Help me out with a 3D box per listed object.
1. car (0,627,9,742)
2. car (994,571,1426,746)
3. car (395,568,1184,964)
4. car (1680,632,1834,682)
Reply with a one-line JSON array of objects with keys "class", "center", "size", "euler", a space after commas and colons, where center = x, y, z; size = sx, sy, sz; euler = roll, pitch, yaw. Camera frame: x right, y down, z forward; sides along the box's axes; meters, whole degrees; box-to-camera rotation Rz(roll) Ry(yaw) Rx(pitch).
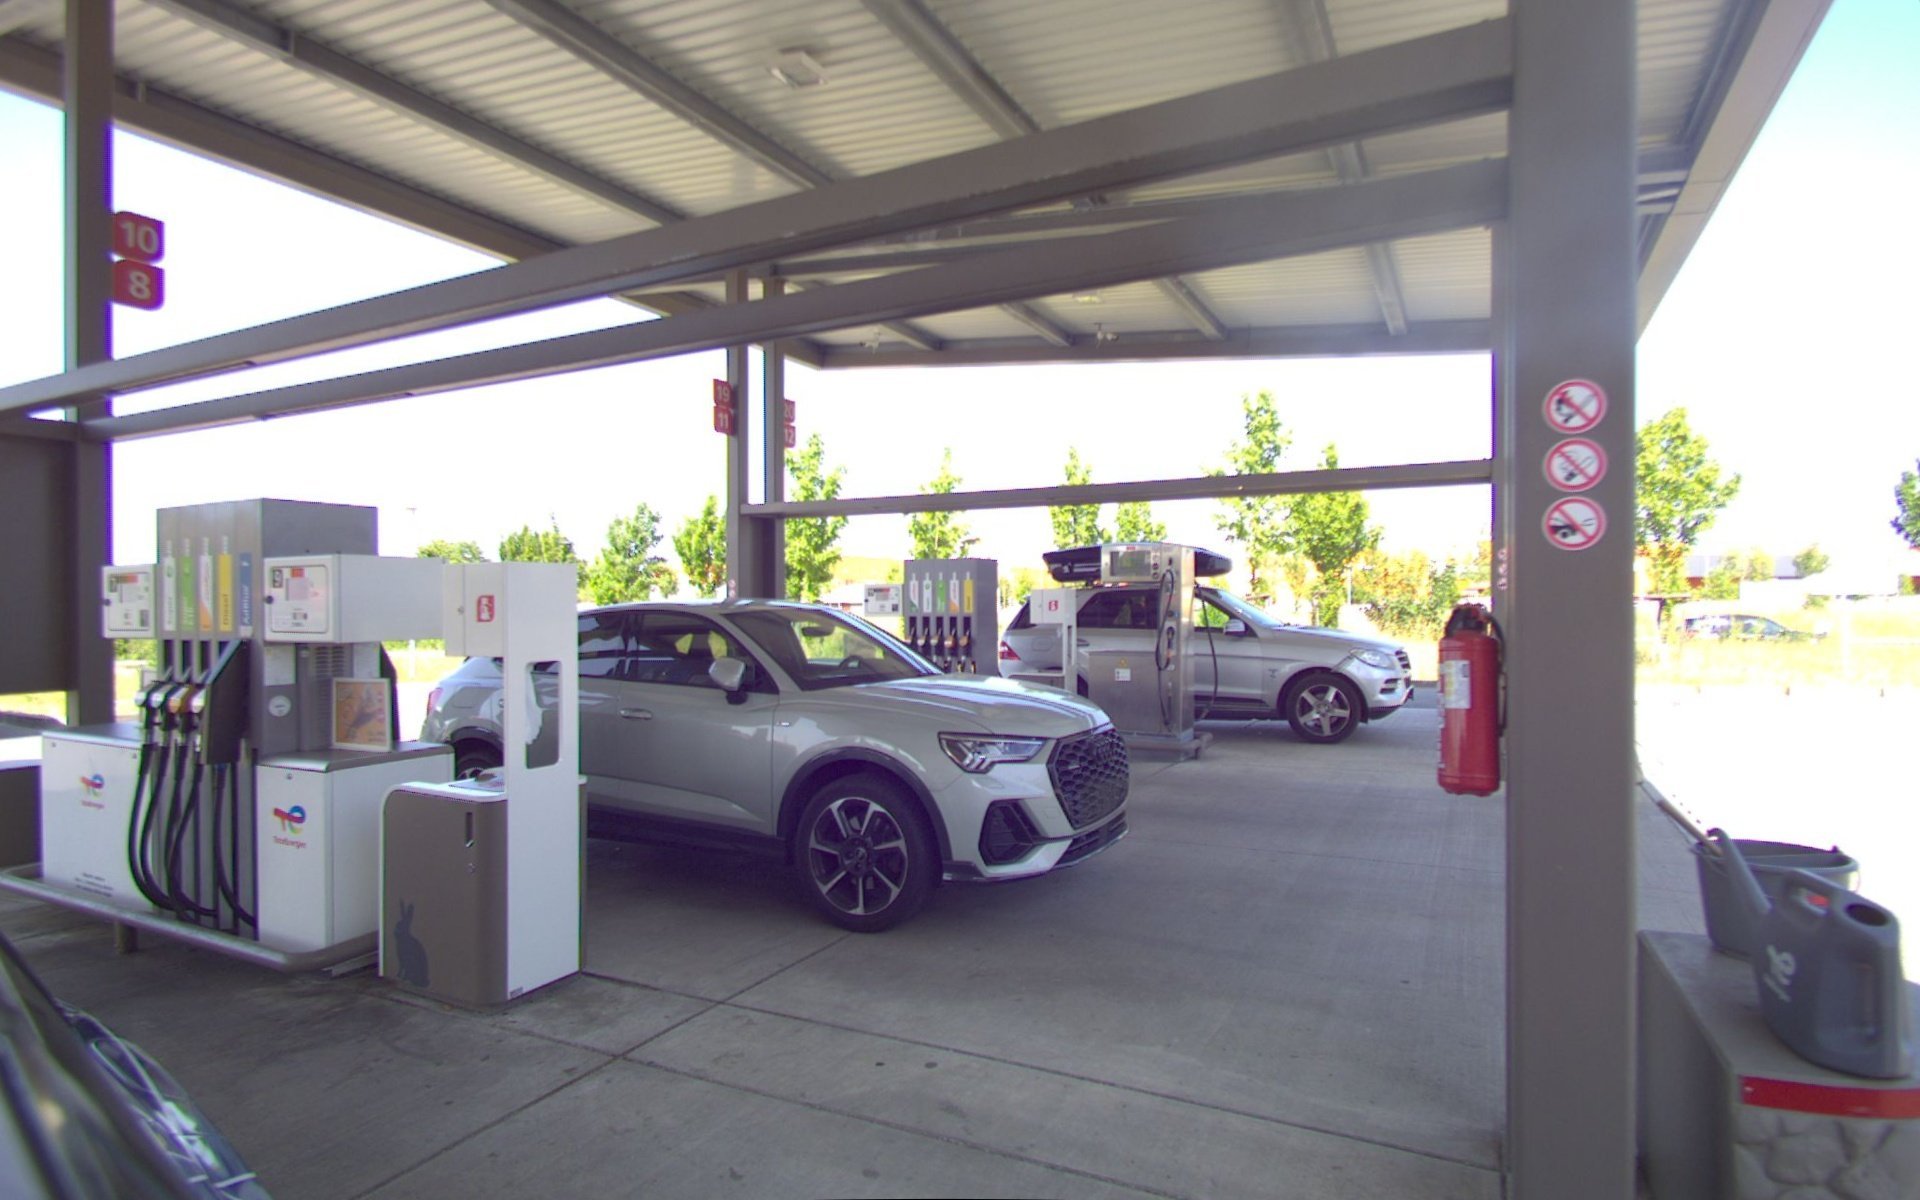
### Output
[{"class": "car", "center": [-14.347, 1.068, 13.091], "size": [4.303, 1.439, 1.775], "euler": [0, 0, 29]}, {"class": "car", "center": [2.826, 0.624, 11.616], "size": [4.508, 1.700, 1.850], "euler": [-1, -1, 24]}, {"class": "car", "center": [-1.084, 0.700, 5.804], "size": [4.306, 1.553, 1.769], "euler": [-1, -1, 29]}, {"class": "car", "center": [28.049, 1.994, 35.803], "size": [3.983, 1.630, 1.804], "euler": [-2, -1, 29]}]
